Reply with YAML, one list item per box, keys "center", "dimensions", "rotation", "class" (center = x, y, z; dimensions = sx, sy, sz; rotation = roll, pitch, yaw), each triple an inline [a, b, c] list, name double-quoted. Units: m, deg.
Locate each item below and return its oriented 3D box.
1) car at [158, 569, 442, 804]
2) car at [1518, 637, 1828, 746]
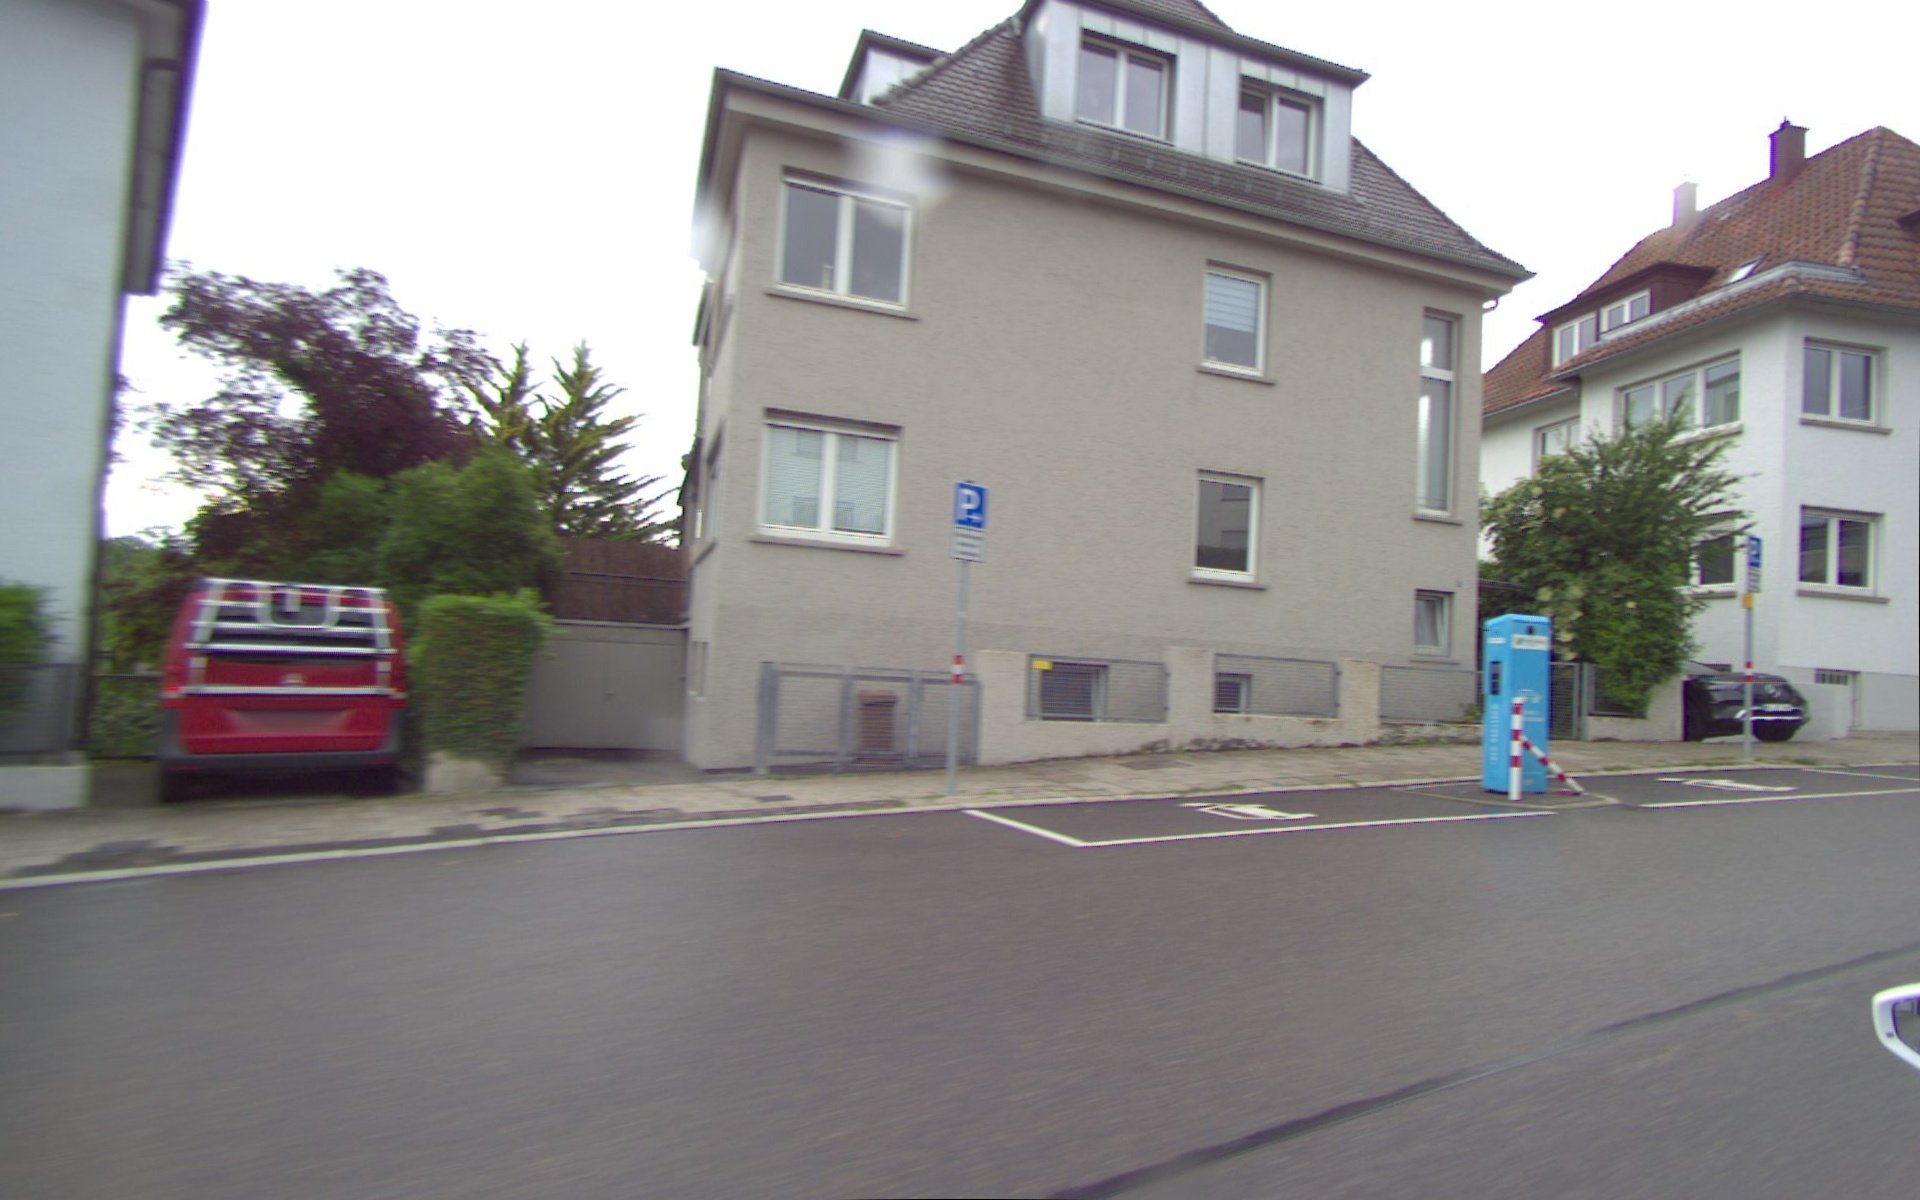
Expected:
- center: [-6.638, 0.851, 10.123]
  dimensions: [1.980, 1.846, 3.962]
  rotation: [1, -5, -35]
  class: "car"
- center: [12.268, 1.730, 17.727]
  dimensions: [1.964, 1.643, 4.253]
  rotation: [1, -9, -9]
  class: "car"
